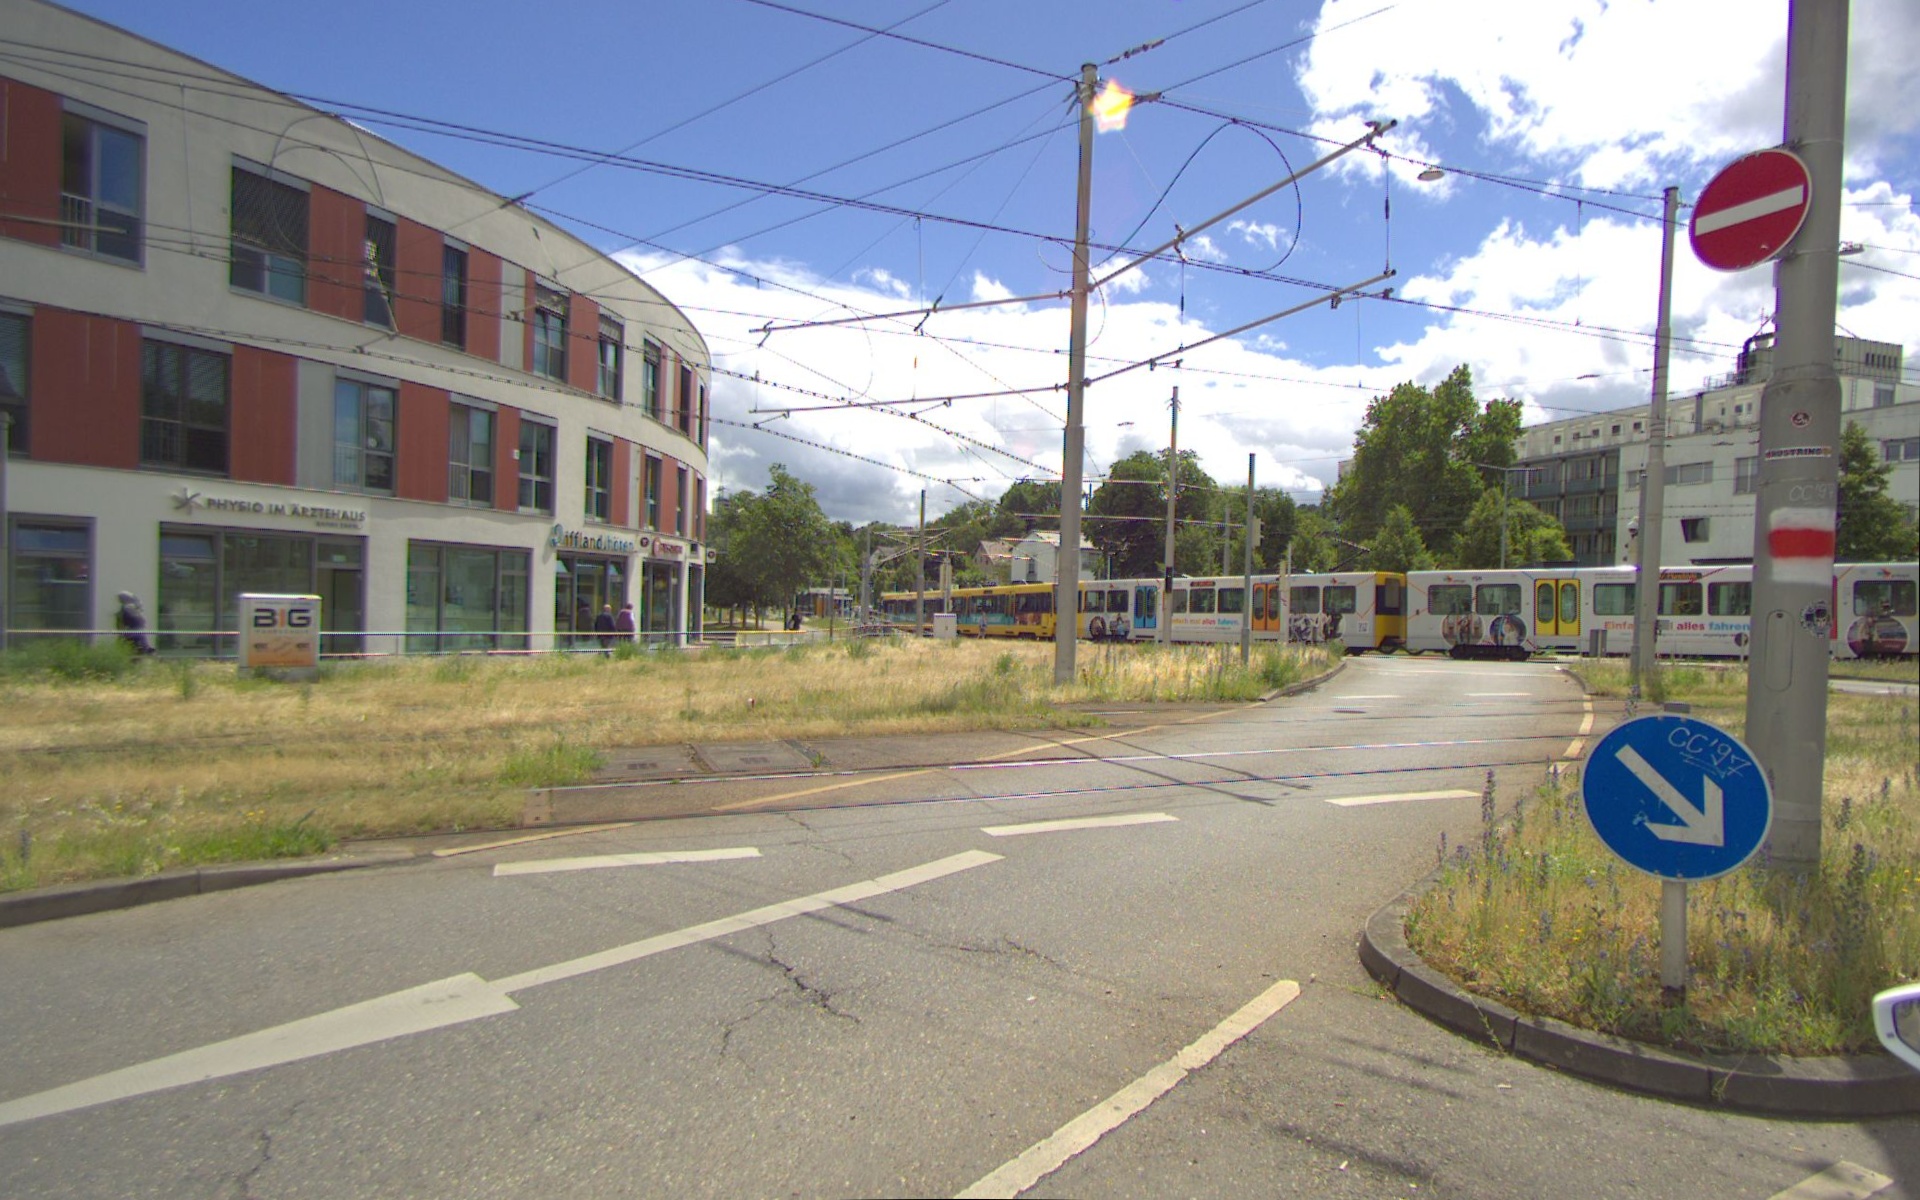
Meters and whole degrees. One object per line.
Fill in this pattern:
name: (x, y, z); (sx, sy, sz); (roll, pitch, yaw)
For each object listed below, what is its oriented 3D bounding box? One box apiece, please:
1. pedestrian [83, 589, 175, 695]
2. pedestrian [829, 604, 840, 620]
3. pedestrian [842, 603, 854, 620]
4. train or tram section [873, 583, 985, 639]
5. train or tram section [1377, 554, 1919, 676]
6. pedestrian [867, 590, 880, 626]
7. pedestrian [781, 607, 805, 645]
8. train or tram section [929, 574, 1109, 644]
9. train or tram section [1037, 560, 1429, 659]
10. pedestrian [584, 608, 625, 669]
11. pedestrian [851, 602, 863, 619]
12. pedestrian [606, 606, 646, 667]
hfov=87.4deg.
pedestrian: (-16.306, 0.808, 19.722); (0.849, 1.994, 1.114); (1, -1, 29)
pedestrian: (-16.719, 1.590, 133.485); (1.241, 2.040, 1.121); (2, -1, -19)
pedestrian: (-13.978, 1.425, 125.033); (1.241, 2.040, 1.121); (2, -1, -19)
train or tram section: (-2.990, 0.977, 82.780); (3.704, 3.970, 18.815); (2, -2, -19)
train or tram section: (25.984, 0.499, 36.485); (19.698, 3.864, 3.754); (1, -2, 31)
pedestrian: (-14.943, 1.373, 173.213); (1.964, 5.998, 2.368); (2, -1, -9)
pedestrian: (-7.473, 1.160, 44.959); (0.847, 1.646, 0.733); (1, -1, 7)
train or tram section: (3.123, 0.704, 66.103); (3.706, 3.880, 20.048); (2, -2, -21)
train or tram section: (12.033, 0.492, 49.155); (3.728, 3.930, 20.412); (2, -2, -38)
pedestrian: (-9.523, 1.033, 26.913); (0.721, 1.601, 0.691); (1, 0, 21)
pedestrian: (-12.286, 1.242, 120.011); (1.241, 2.040, 1.121); (2, -1, -19)
pedestrian: (-11.169, 1.210, 33.640); (0.847, 1.994, 1.107); (1, -1, 6)
